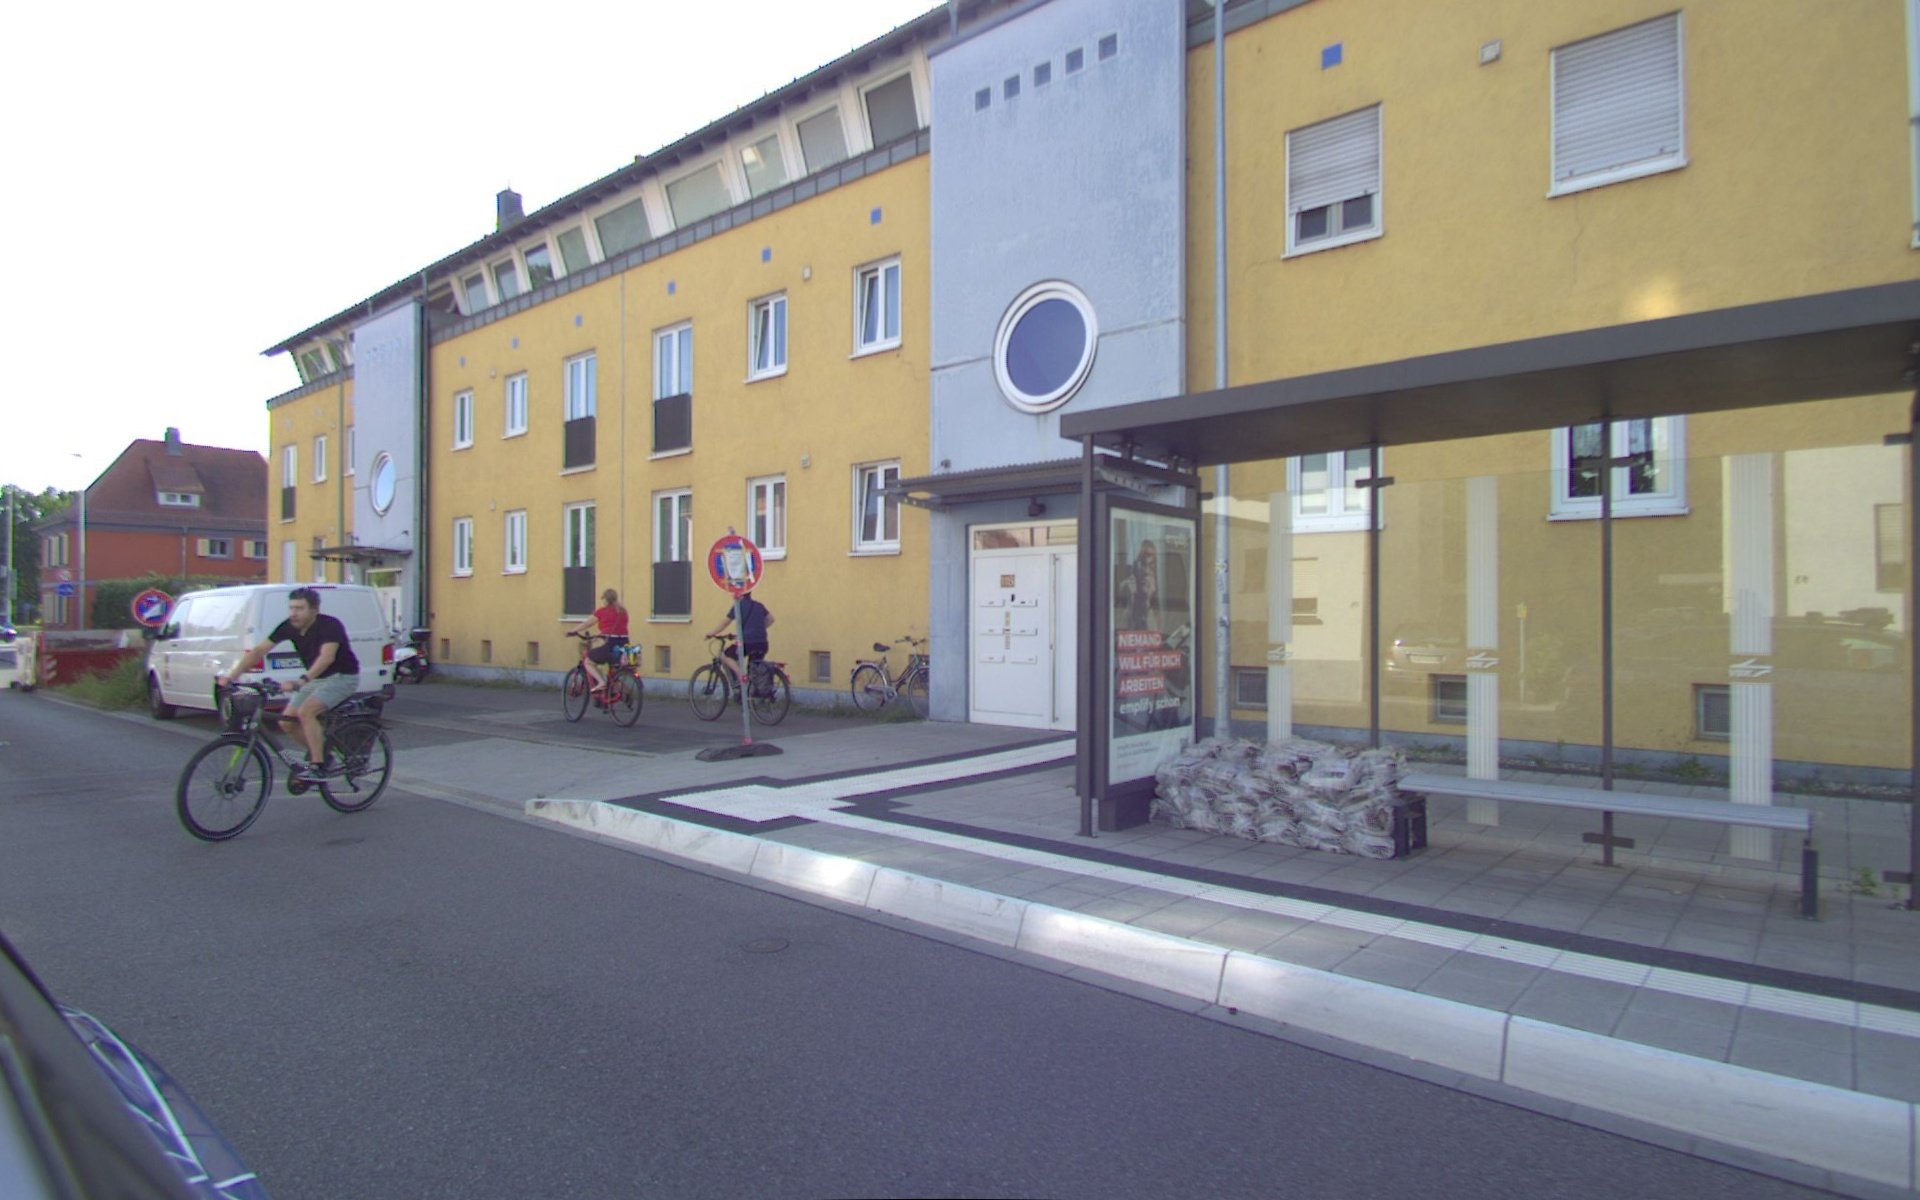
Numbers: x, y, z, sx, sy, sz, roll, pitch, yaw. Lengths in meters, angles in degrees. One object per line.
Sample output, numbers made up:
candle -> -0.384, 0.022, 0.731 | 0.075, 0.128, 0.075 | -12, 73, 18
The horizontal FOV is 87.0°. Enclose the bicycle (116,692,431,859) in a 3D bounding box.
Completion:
bicycle -> -4.799, 1.177, 7.289 | 0.673, 0.861, 2.020 | -1, -1, 10

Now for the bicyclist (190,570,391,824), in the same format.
bicyclist -> -4.794, 0.660, 7.301 | 0.836, 1.702, 0.875 | -1, -1, 10

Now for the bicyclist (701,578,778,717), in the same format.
bicyclist -> -2.771, 0.583, 12.730 | 0.665, 1.682, 0.667 | -2, -1, 40

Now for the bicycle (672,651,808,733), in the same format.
bicycle -> -2.795, 1.123, 12.754 | 1.872, 0.919, 0.683 | -2, -1, 40

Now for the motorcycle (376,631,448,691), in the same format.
motorcycle -> -11.461, 1.245, 21.144 | 1.874, 1.191, 0.577 | -1, -1, 37

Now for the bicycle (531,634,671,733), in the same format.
bicycle -> -4.621, 1.037, 12.970 | 2.017, 1.169, 0.606 | -2, -1, 34

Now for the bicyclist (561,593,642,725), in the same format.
bicyclist -> -4.579, 0.732, 12.924 | 0.726, 1.615, 0.664 | -2, -1, 35

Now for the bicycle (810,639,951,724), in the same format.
bicycle -> -1.063, 1.029, 13.224 | 1.906, 1.005, 0.708 | -1, -1, 41

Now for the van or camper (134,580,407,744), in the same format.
van or camper -> -10.160, 0.798, 14.763 | 4.915, 2.018, 1.974 | -1, -1, 39
